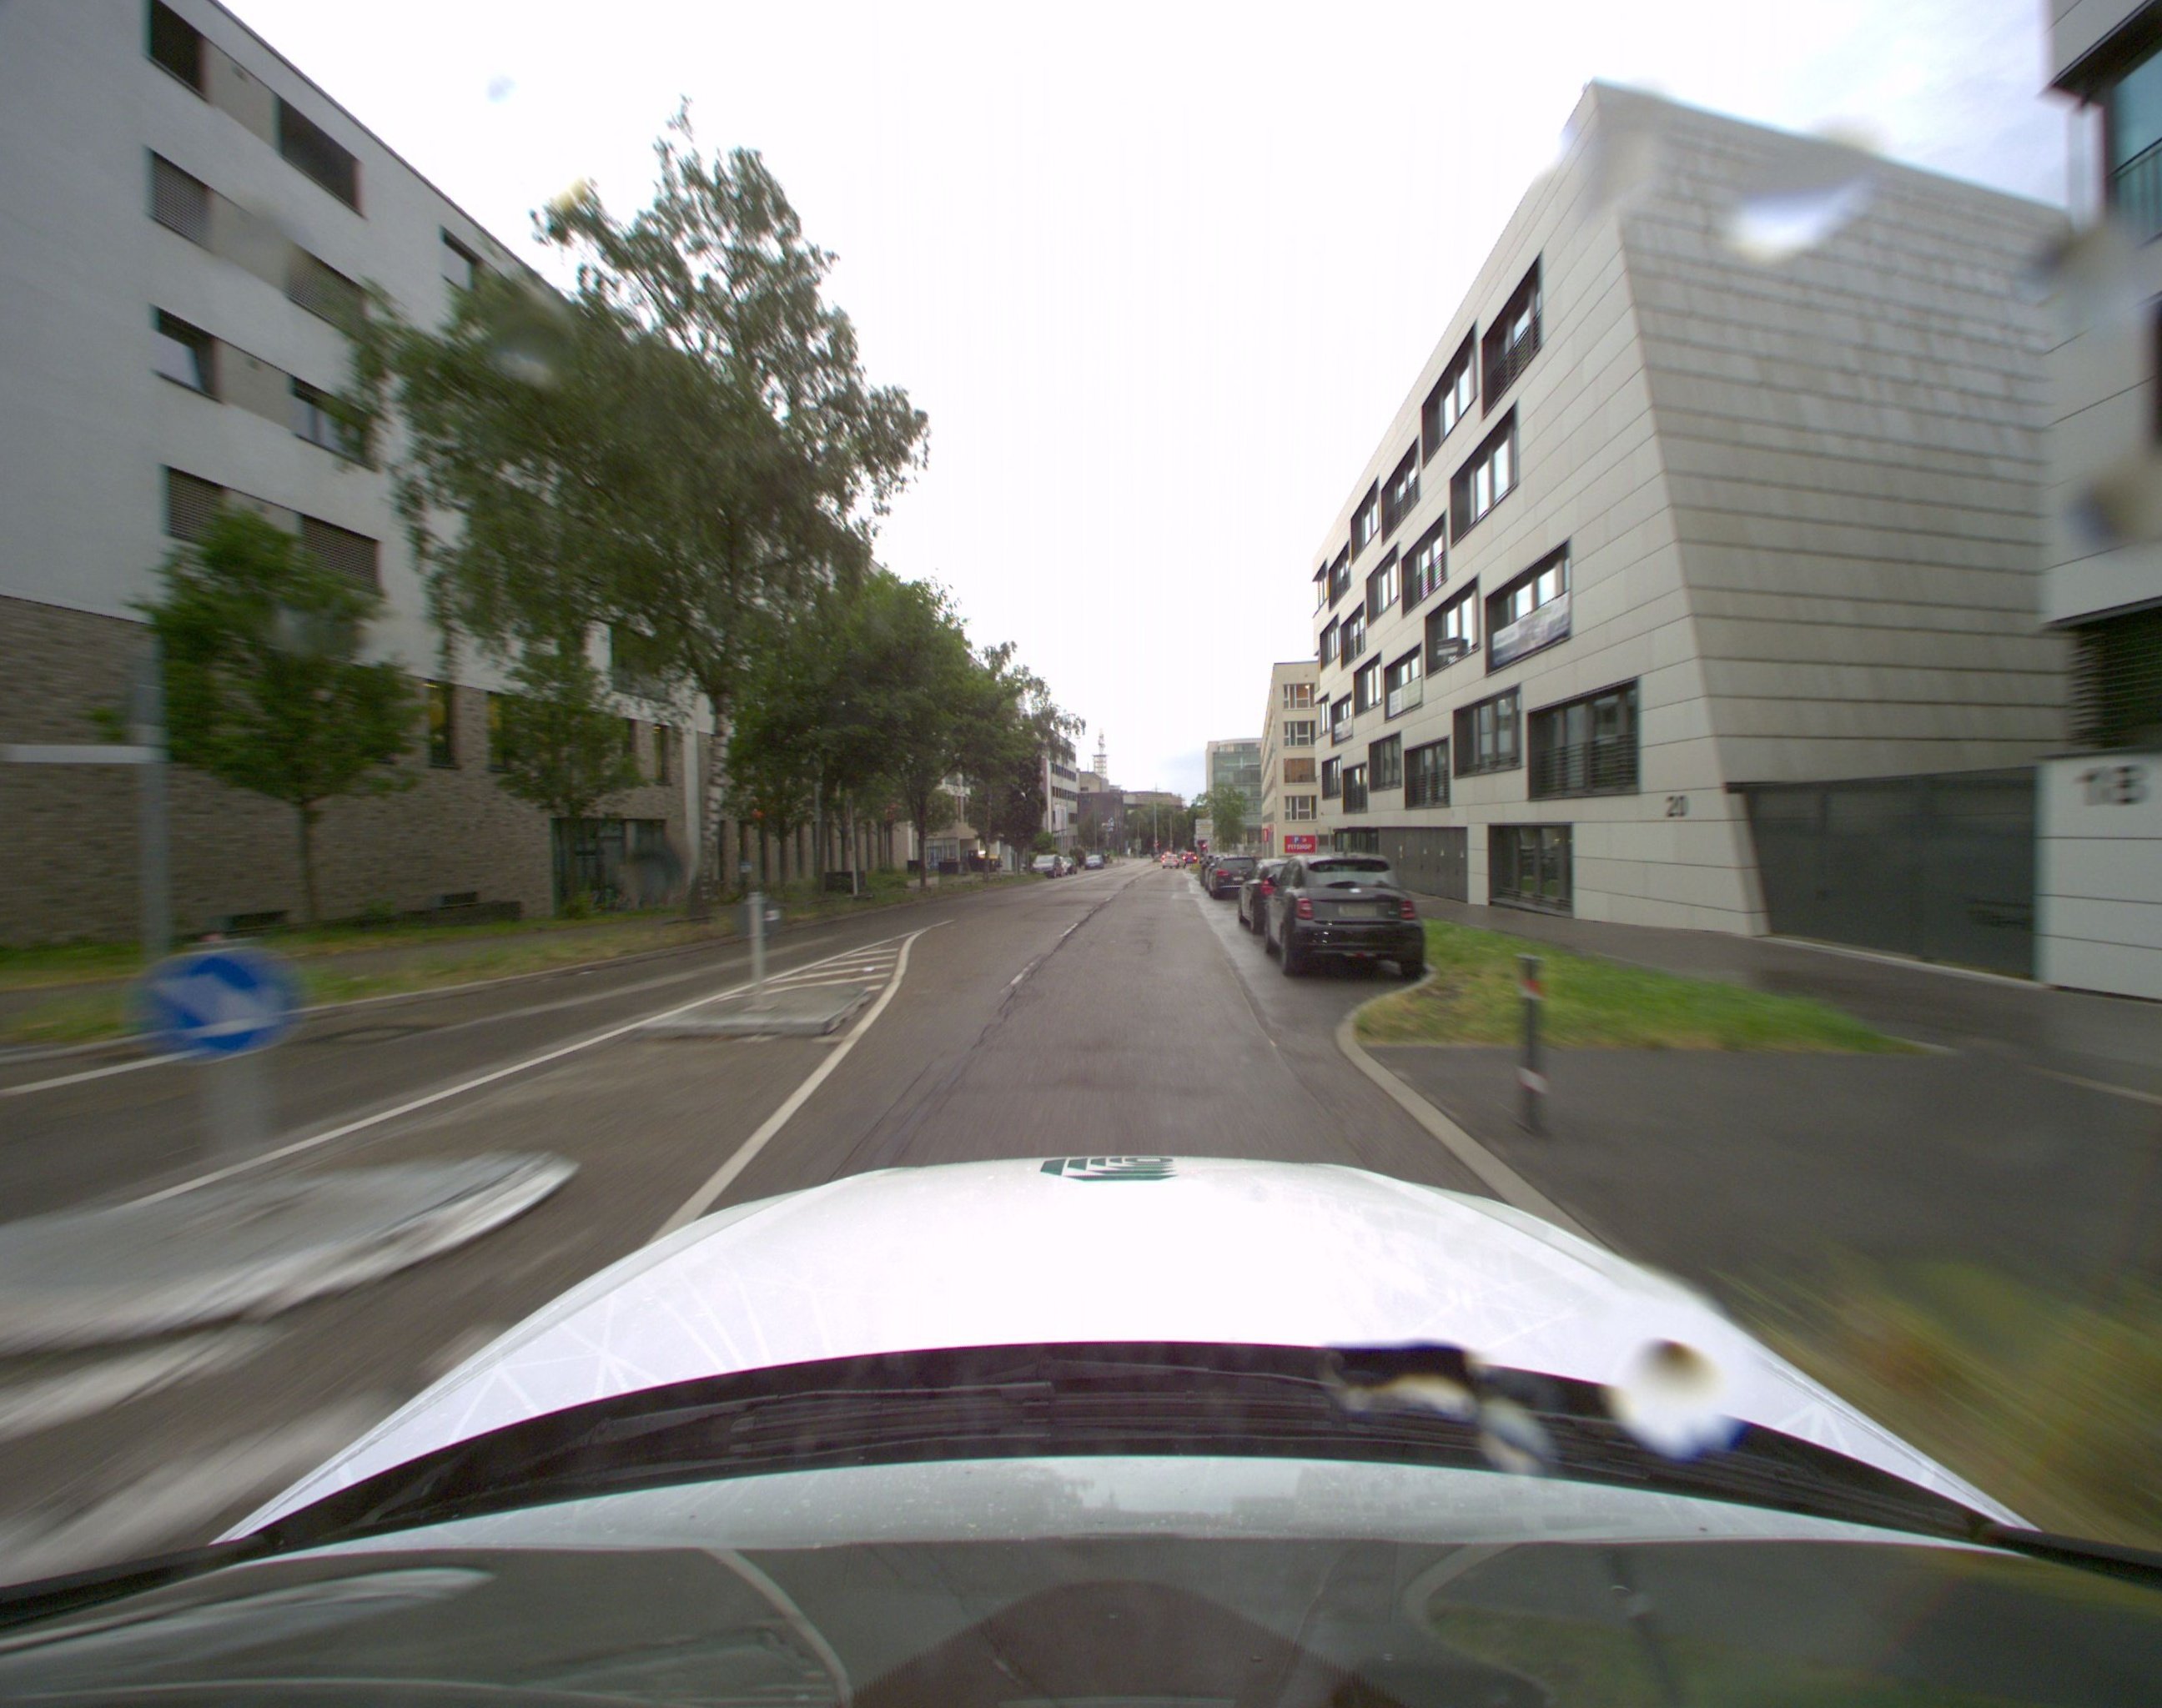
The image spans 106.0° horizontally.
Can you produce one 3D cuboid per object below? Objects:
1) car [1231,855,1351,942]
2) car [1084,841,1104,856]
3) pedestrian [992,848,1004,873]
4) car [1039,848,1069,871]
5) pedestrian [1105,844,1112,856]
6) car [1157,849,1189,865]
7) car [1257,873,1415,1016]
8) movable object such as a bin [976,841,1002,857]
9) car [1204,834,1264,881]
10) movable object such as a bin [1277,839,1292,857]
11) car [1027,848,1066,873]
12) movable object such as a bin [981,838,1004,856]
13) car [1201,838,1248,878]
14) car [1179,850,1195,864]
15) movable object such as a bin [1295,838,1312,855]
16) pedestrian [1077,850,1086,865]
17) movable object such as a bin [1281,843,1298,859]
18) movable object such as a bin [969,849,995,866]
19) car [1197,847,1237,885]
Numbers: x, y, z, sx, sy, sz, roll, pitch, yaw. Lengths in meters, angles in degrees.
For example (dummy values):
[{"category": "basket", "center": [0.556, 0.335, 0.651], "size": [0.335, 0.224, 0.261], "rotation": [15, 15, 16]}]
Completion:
[{"category": "car", "center": [4.159, 0.788, 16.765], "size": [1.798, 1.484, 4.504], "rotation": [0, 1, 7]}, {"category": "car", "center": [1.432, -0.607, 87.852], "size": [1.905, 1.481, 4.362], "rotation": [0, 1, 4]}, {"category": "pedestrian", "center": [-5.739, 0.428, 56.399], "size": [0.705, 1.683, 0.957], "rotation": [-1, 2, 3]}, {"category": "car", "center": [-2.053, 0.412, 63.712], "size": [1.764, 1.600, 4.040], "rotation": [0, 2, 6]}, {"category": "pedestrian", "center": [4.471, -0.610, 131.870], "size": [0.958, 1.955, 0.777], "rotation": [0, 0, -5]}, {"category": "car", "center": [9.700, 0.294, 85.644], "size": [1.975, 1.576, 4.021], "rotation": [0, 2, 27]}, {"category": "car", "center": [3.420, 1.114, 11.518], "size": [1.537, 1.478, 3.669], "rotation": [0, 2, 8]}, {"category": "movable object such as a bin", "center": [-7.994, -0.452, 71.220], "size": [2.045, 1.423, 1.318], "rotation": [0, 1, 3]}, {"category": "car", "center": [5.496, 0.083, 29.703], "size": [1.798, 1.563, 4.856], "rotation": [0, 1, 7]}, {"category": "movable object such as a bin", "center": [17.417, -0.520, 69.734], "size": [1.166, 1.503, 1.016], "rotation": [0, 1, 9]}, {"category": "car", "center": [-2.428, 0.427, 58.434], "size": [2.067, 1.609, 4.694], "rotation": [-2, 2, 6]}, {"category": "movable object such as a bin", "center": [-7.872, -0.631, 72.703], "size": [1.788, 1.510, 1.483], "rotation": [-2, 1, 3]}, {"category": "car", "center": [6.095, 0.122, 34.953], "size": [1.739, 1.605, 4.382], "rotation": [0, 1, 7]}, {"category": "car", "center": [13.928, 0.414, 107.326], "size": [1.983, 1.749, 3.680], "rotation": [0, 2, 7]}, {"category": "movable object such as a bin", "center": [18.701, -0.626, 68.339], "size": [1.253, 1.402, 1.115], "rotation": [0, 1, 9]}, {"category": "pedestrian", "center": [0.063, 0.374, 94.125], "size": [0.731, 1.708, 0.897], "rotation": [-1, 0, -20]}, {"category": "movable object such as a bin", "center": [17.316, -0.240, 67.591], "size": [1.228, 1.320, 1.195], "rotation": [-1, 0, 9]}, {"category": "movable object such as a bin", "center": [-8.484, 0.305, 69.836], "size": [2.018, 1.429, 1.291], "rotation": [1, 1, 3]}, {"category": "car", "center": [6.814, 0.545, 41.147], "size": [1.798, 1.679, 4.722], "rotation": [0, 2, 7]}]
